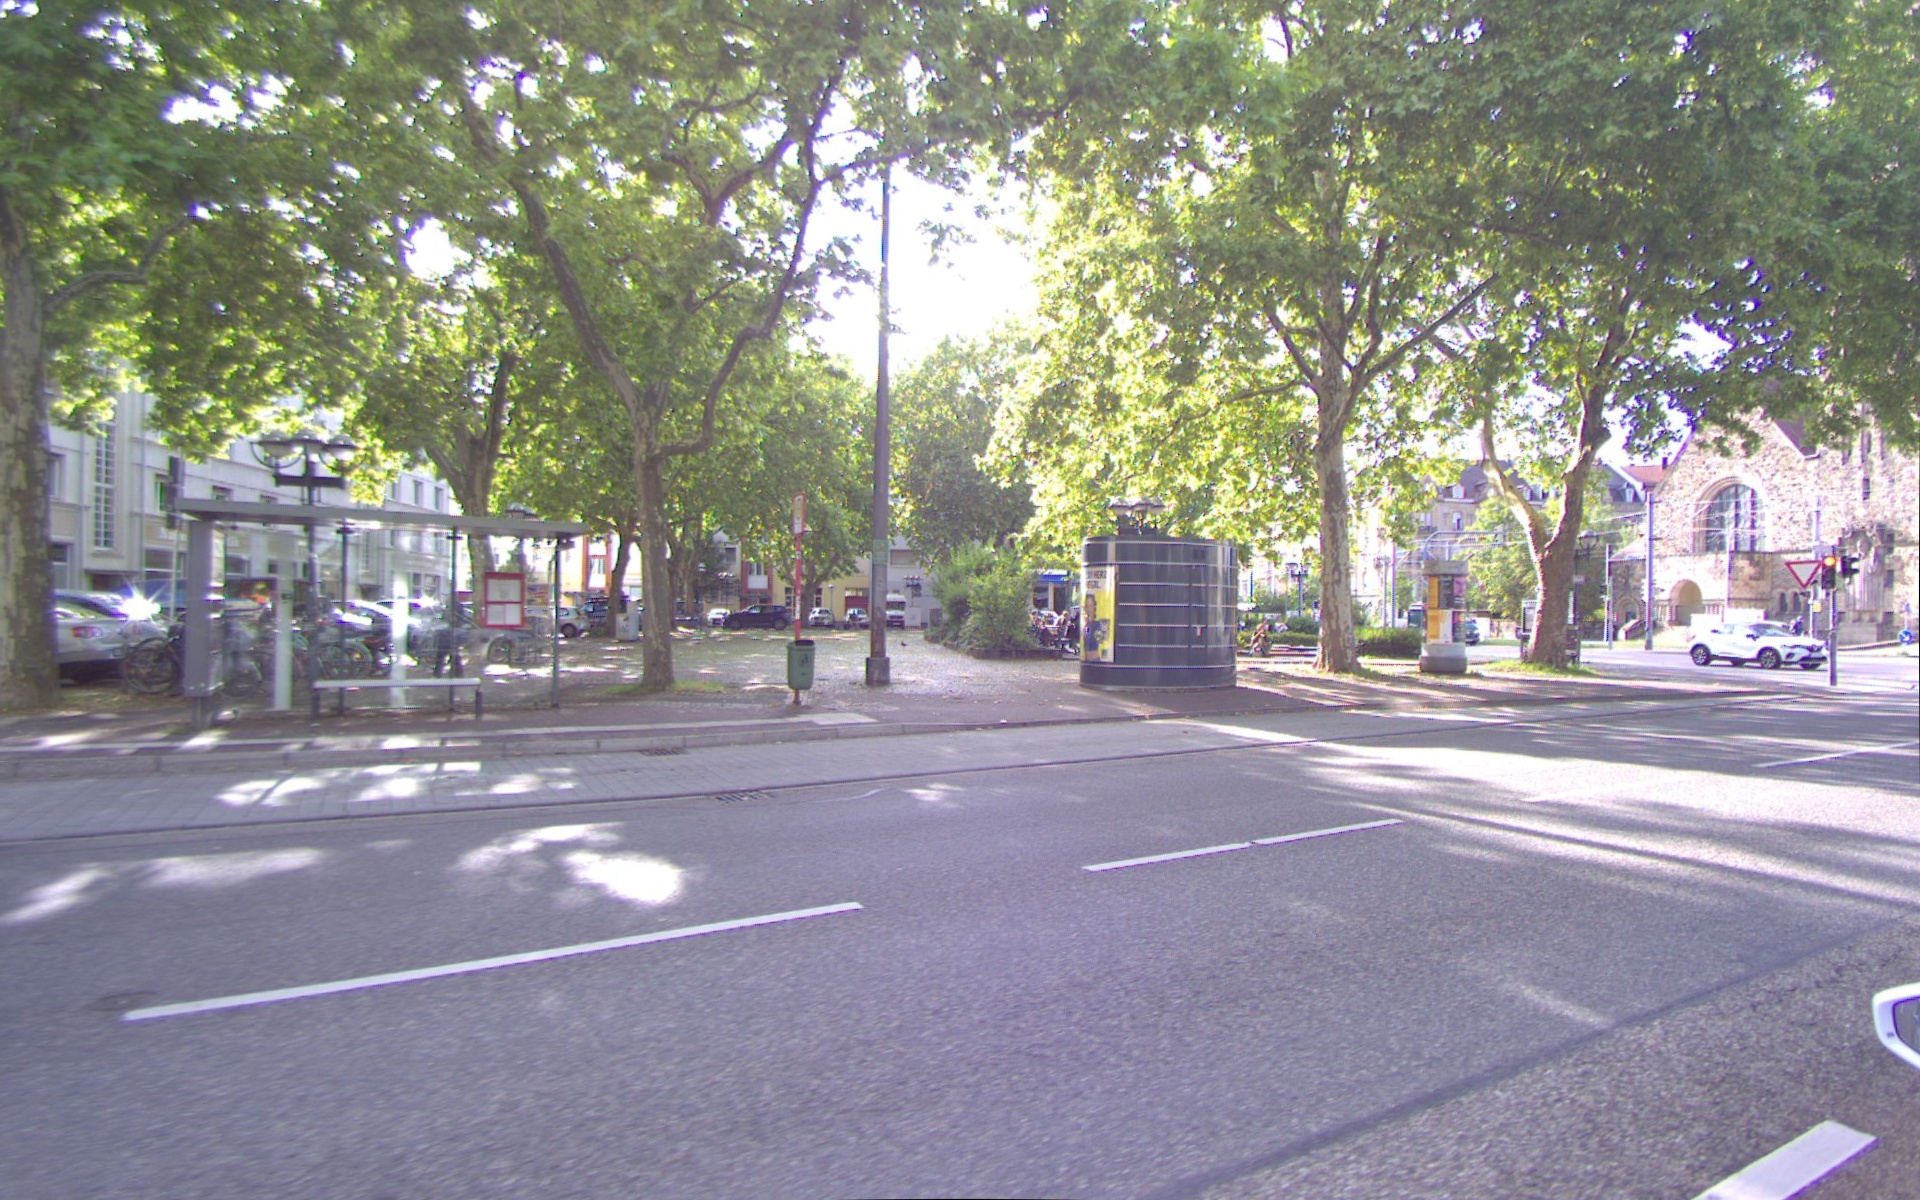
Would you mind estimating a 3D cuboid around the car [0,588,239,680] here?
[{"bbox_3d":[-16.433,0.634,18.984,4.199,1.638,1.681,1,-1,-9],"label":"car"}]

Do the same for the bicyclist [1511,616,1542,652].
[{"bbox_3d":[24.207,1.444,42.929,0.703,1.523,0.882,1,0,-12],"label":"bicyclist"}]

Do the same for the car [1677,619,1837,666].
[{"bbox_3d":[27.930,1.446,35.406,1.865,1.499,4.253,1,-1,-11],"label":"car"}]

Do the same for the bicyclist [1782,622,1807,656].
[{"bbox_3d":[42.636,1.977,51.338,0.705,1.684,0.726,1,0,11],"label":"bicyclist"}]

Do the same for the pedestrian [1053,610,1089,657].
[{"bbox_3d":[3.262,0.967,29.422,0.711,1.306,0.816,3,2,34],"label":"pedestrian"}]

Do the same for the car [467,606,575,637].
[{"bbox_3d":[-20.599,1.007,47.291,4.308,1.396,1.857,1,0,-9],"label":"car"}]

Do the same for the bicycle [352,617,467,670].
[{"bbox_3d":[-11.949,0.936,21.845,2.055,1.096,0.702,1,0,-7],"label":"bicycle"}]

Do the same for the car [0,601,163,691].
[{"bbox_3d":[-16.016,0.702,16.174,4.750,1.396,1.670,1,-1,-9],"label":"car"}]

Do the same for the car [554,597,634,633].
[{"bbox_3d":[-21.155,0.859,58.160,3.924,1.868,1.998,2,2,-5],"label":"car"}]

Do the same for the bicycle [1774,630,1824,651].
[{"bbox_3d":[42.851,2.066,51.331,1.886,0.993,0.638,1,0,10],"label":"bicycle"}]

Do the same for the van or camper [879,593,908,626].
[{"bbox_3d":[-4.922,0.732,75.019,2.071,2.359,4.490,1,0,-3],"label":"van or camper"}]

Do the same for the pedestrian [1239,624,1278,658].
[{"bbox_3d":[8.919,1.218,30.066,1.019,0.992,0.761,1,0,10],"label":"pedestrian"}]

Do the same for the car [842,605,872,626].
[{"bbox_3d":[-7.683,1.150,75.188,2.071,1.466,4.490,1,-1,-3],"label":"car"}]

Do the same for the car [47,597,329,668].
[{"bbox_3d":[-16.106,0.679,21.192,4.308,1.396,1.857,1,0,-9],"label":"car"}]

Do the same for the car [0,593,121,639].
[{"bbox_3d":[-27.951,0.467,30.416,3.496,1.321,1.648,1,0,-11],"label":"car"}]

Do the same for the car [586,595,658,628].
[{"bbox_3d":[-21.438,0.709,63.781,3.924,1.868,1.998,2,2,-5],"label":"car"}]

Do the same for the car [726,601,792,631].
[{"bbox_3d":[-12.555,1.001,62.646,3.932,1.795,1.886,1,0,-14],"label":"car"}]

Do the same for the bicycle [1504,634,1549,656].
[{"bbox_3d":[24.195,1.929,42.943,0.693,0.887,1.723,1,0,-12],"label":"bicycle"}]

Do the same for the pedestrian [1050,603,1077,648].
[{"bbox_3d":[3.148,0.758,30.532,0.709,1.306,0.818,2,2,2],"label":"pedestrian"}]

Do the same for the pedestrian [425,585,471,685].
[{"bbox_3d":[-9.142,0.620,17.934,0.698,1.738,0.498,1,0,-30],"label":"pedestrian"}]

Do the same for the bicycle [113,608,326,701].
[{"bbox_3d":[-10.927,0.786,14.934,2.064,1.225,1.392,3,-1,-7],"label":"bicycle"}]

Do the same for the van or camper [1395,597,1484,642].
[{"bbox_3d":[27.921,1.111,58.696,2.143,2.467,5.466,1,0,-6],"label":"van or camper"}]

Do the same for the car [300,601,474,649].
[{"bbox_3d":[-17.736,0.770,31.287,4.308,1.396,1.857,1,0,-9],"label":"car"}]
